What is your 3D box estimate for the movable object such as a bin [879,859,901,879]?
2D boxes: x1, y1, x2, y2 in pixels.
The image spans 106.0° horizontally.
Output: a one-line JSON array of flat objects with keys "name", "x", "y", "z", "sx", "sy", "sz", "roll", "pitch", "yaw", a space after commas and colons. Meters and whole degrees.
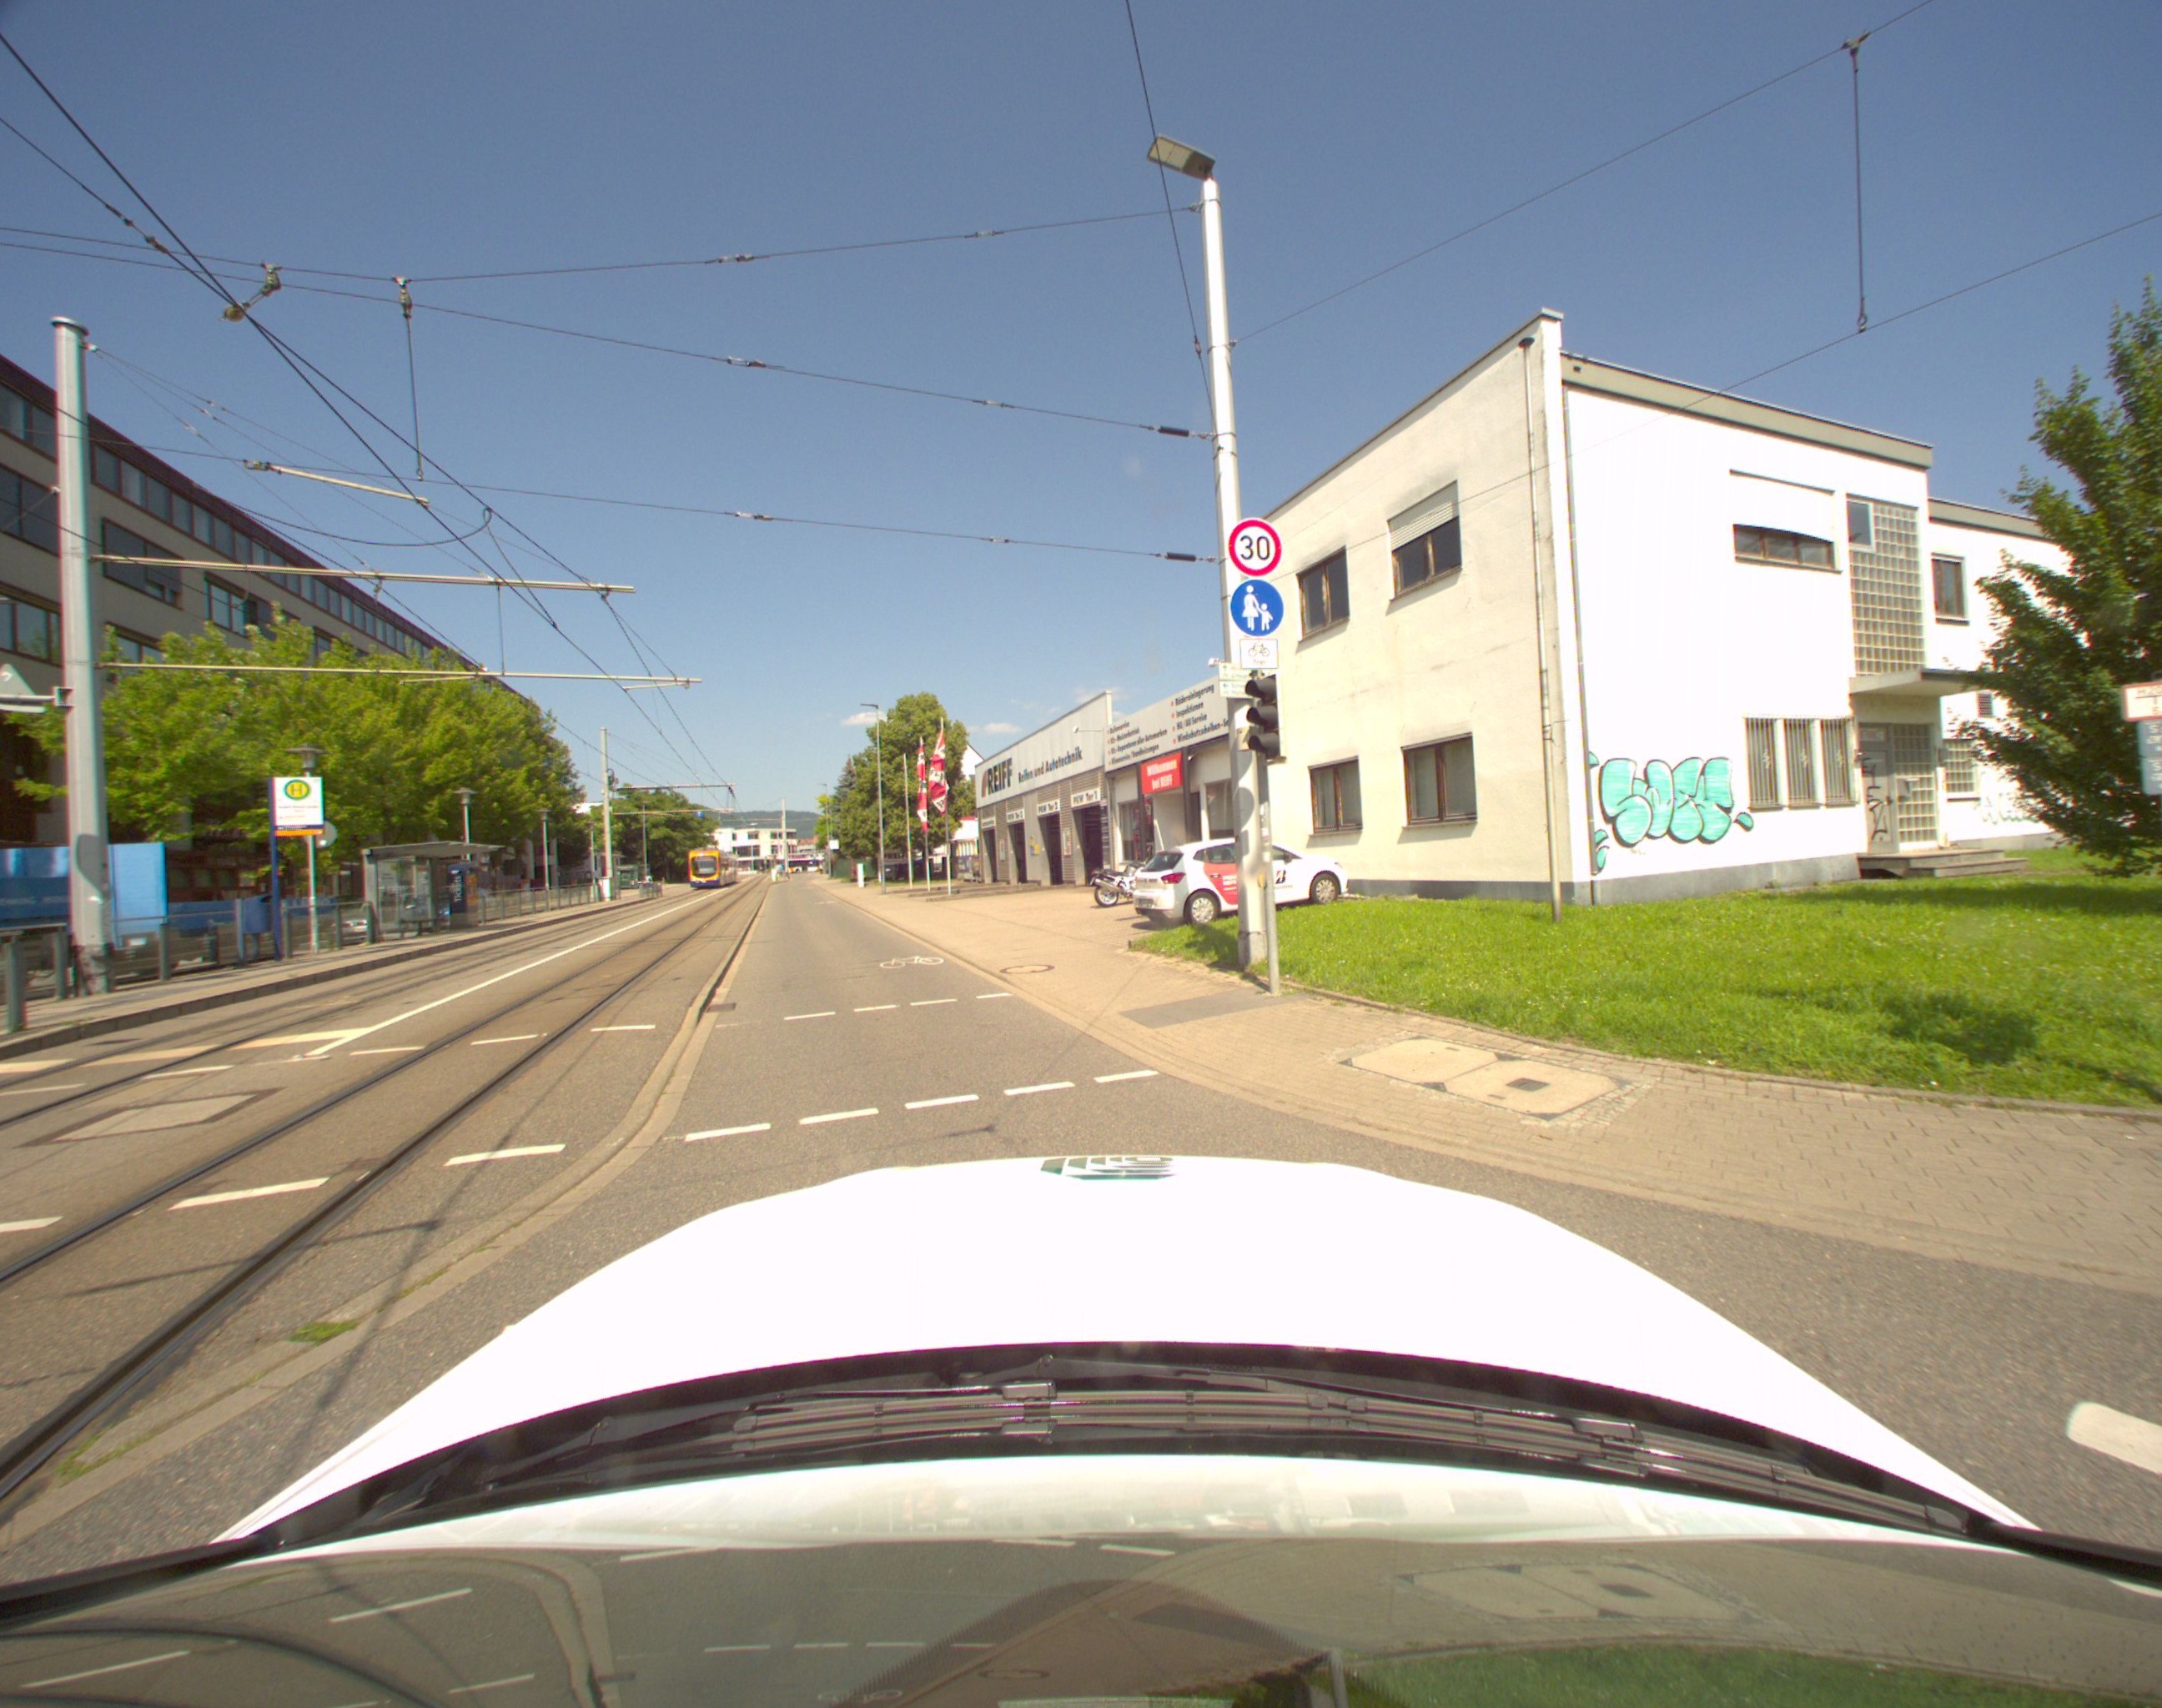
[{"name": "movable object such as a bin", "x": -14.636, "y": 1.138, "z": 62.431, "sx": 1.378, "sy": 1.430, "sz": 0.992, "roll": -3, "pitch": -2, "yaw": 4}]

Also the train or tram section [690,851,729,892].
[{"name": "train or tram section", "x": -33.656, "y": 1.574, "z": 73.895, "sx": 2.621, "sy": 3.447, "sz": 5.802, "roll": -3, "pitch": 0, "yaw": -21}]

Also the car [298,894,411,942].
[{"name": "car", "x": -26.650, "y": 2.301, "z": 30.030, "sx": 1.728, "sy": 1.463, "sz": 3.878, "roll": -2, "pitch": 0, "yaw": -19}]

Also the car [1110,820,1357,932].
[{"name": "car", "x": 2.806, "y": 0.358, "z": 15.026, "sx": 4.005, "sy": 1.462, "sz": 1.876, "roll": -7, "pitch": 1, "yaw": -23}]

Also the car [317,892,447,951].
[{"name": "car", "x": -22.241, "y": 2.071, "z": 26.121, "sx": 1.730, "sy": 1.472, "sz": 4.248, "roll": -5, "pitch": 1, "yaw": -21}]

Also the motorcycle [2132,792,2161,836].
[{"name": "motorcycle", "x": 26.839, "y": -0.987, "z": 19.916, "sx": 2.571, "sy": 1.032, "sz": 0.847, "roll": -2, "pitch": 1, "yaw": -25}]

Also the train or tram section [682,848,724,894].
[{"name": "train or tram section", "x": -31.659, "y": 1.408, "z": 68.448, "sx": 2.621, "sy": 3.532, "sz": 5.702, "roll": -3, "pitch": 0, "yaw": -21}]

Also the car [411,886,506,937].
[{"name": "car", "x": -24.031, "y": 2.180, "z": 31.605, "sx": 1.730, "sy": 1.584, "sz": 4.042, "roll": -6, "pitch": 1, "yaw": -21}]

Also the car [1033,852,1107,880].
[{"name": "car", "x": -0.622, "y": 0.674, "z": 45.950, "sx": 3.781, "sy": 1.376, "sz": 1.711, "roll": -3, "pitch": 0, "yaw": -25}]

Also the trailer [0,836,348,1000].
[{"name": "trailer", "x": -18.915, "y": 1.135, "z": 17.023, "sx": 2.808, "sy": 2.628, "sz": 7.544, "roll": -3, "pitch": 0, "yaw": -22}]

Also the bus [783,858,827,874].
[{"name": "bus", "x": -58.028, "y": 2.516, "z": 171.416, "sx": 2.412, "sy": 2.879, "sz": 8.849, "roll": -3, "pitch": 0, "yaw": 38}]

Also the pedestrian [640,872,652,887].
[{"name": "pedestrian", "x": -44.812, "y": 2.604, "z": 83.871, "sx": 0.838, "sy": 1.537, "sz": 0.832, "roll": -4, "pitch": 0, "yaw": -21}]

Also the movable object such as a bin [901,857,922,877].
[{"name": "movable object such as a bin", "x": -12.995, "y": 0.995, "z": 62.487, "sx": 1.310, "sy": 1.430, "sz": 0.886, "roll": -3, "pitch": -2, "yaw": 4}]

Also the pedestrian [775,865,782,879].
[{"name": "pedestrian", "x": -39.153, "y": 2.296, "z": 105.332, "sx": 0.746, "sy": 1.740, "sz": 0.722, "roll": -4, "pitch": 0, "yaw": -21}]

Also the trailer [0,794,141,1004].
[{"name": "trailer", "x": -16.332, "y": 0.687, "z": 10.321, "sx": 2.754, "sy": 2.977, "sz": 6.848, "roll": -3, "pitch": 0, "yaw": -21}]

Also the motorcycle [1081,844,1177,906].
[{"name": "motorcycle", "x": 1.214, "y": 0.520, "z": 20.504, "sx": 2.193, "sy": 1.308, "sz": 0.726, "roll": -6, "pitch": 0, "yaw": -22}]

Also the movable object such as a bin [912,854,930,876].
[{"name": "movable object such as a bin", "x": -11.983, "y": 0.820, "z": 60.863, "sx": 0.982, "sy": 1.547, "sz": 1.310, "roll": -2, "pitch": -2, "yaw": -24}]
